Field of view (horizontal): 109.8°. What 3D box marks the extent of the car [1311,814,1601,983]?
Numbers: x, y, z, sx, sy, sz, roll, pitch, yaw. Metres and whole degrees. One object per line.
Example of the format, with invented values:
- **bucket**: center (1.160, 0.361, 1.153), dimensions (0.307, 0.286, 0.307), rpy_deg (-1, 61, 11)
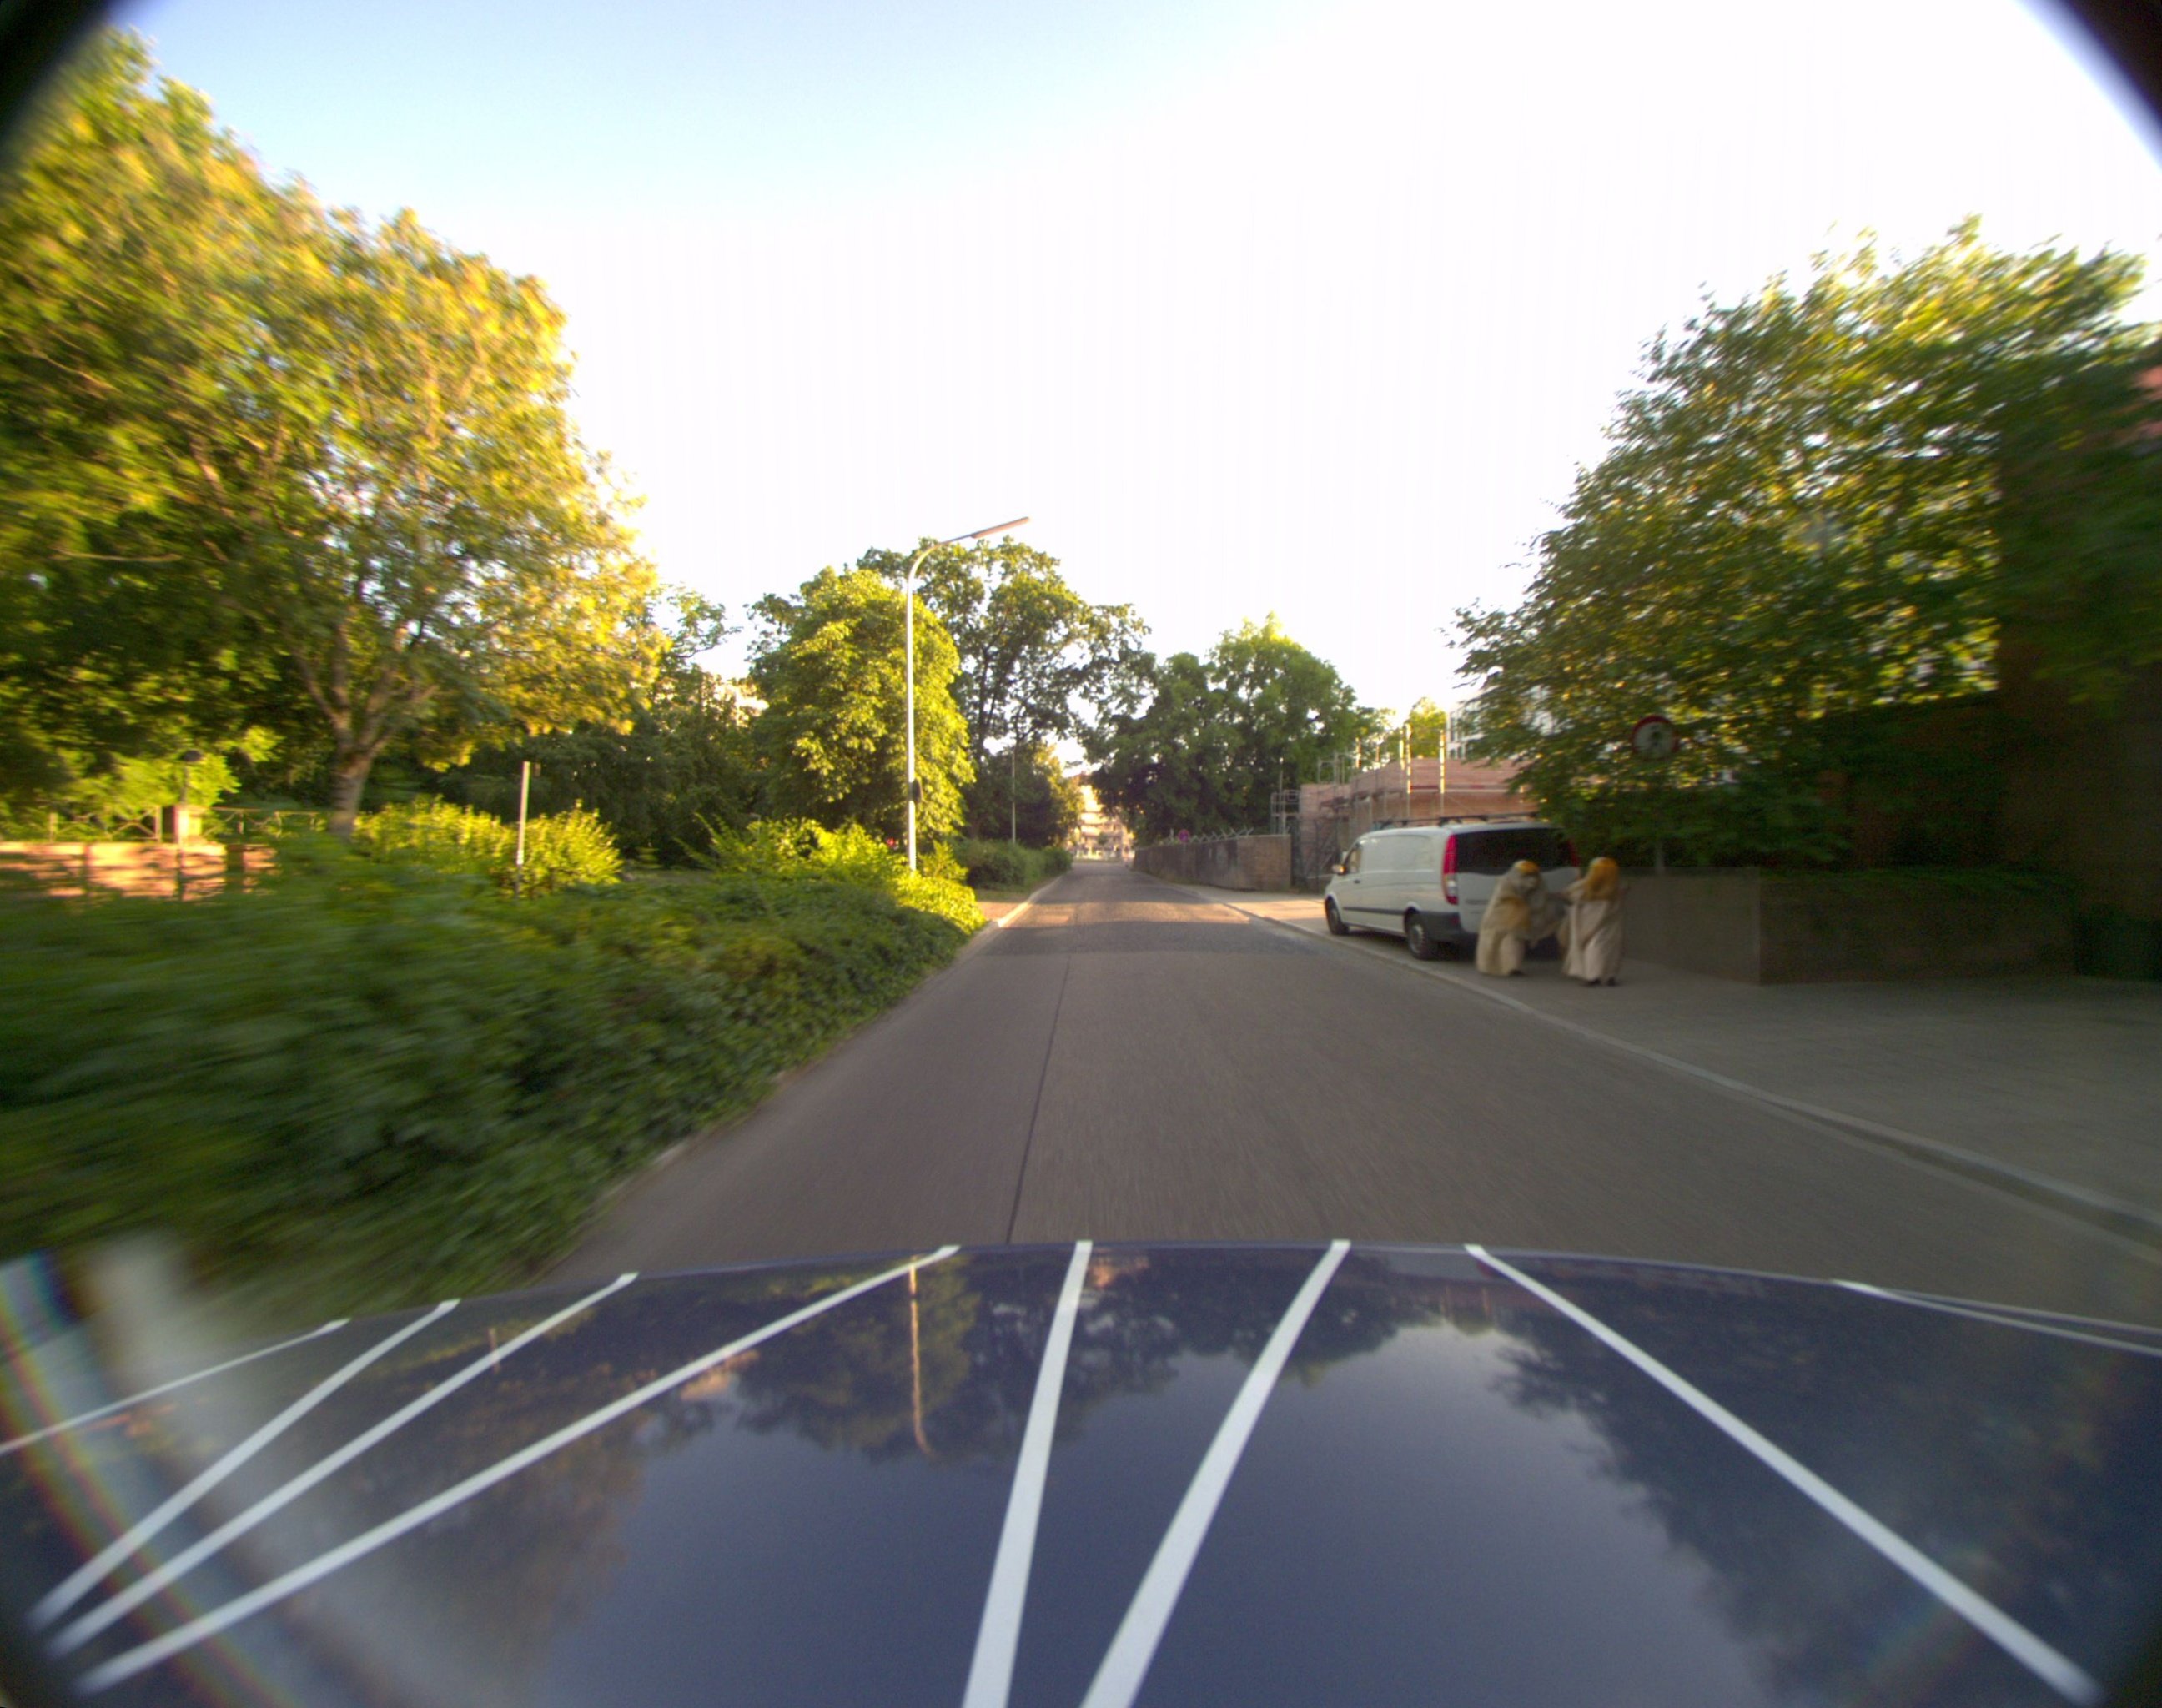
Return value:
- **car**: center (5.445, 0.529, 12.022), dimensions (1.887, 2.002, 5.225), rpy_deg (-3, 1, -1)
